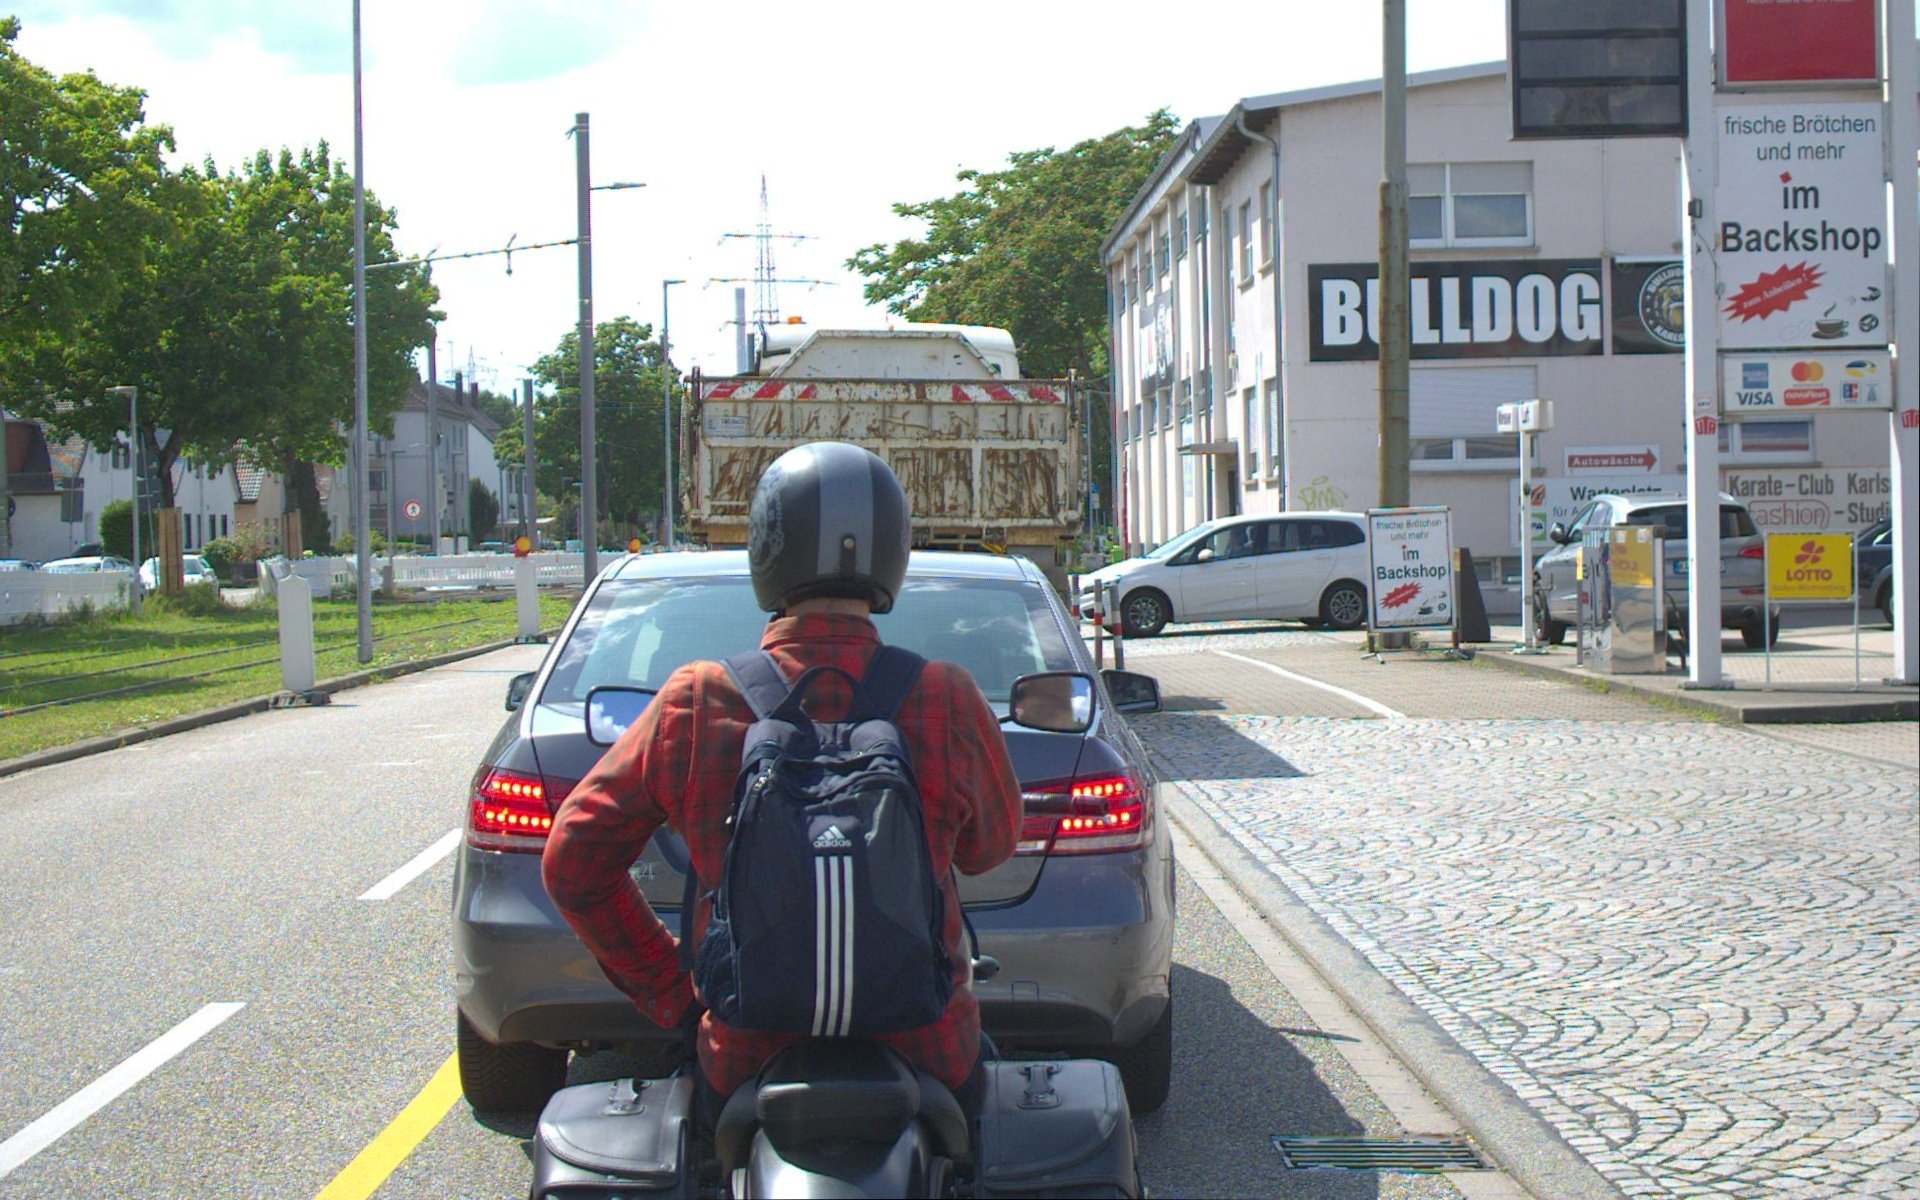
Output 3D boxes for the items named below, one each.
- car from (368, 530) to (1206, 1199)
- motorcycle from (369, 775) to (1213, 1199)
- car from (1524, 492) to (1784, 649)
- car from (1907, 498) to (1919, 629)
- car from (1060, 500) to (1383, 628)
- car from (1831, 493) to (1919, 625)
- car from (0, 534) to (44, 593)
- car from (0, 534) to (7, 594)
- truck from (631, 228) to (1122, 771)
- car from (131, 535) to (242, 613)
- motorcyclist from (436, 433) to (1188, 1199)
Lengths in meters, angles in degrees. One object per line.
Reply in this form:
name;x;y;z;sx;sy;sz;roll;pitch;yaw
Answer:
car;-0.440;0.568;9.672;1.832;1.474;4.010;-1;1;-2
motorcycle;-0.213;0.863;5.209;0.976;1.010;2.432;1;1;-1
car;7.325;-0.341;36.647;1.832;1.530;4.010;-1;1;-2
car;11.789;-0.401;37.246;1.832;1.474;4.010;-1;1;-2
car;3.550;-0.501;47.033;4.104;1.619;1.686;-1;1;-8
car;13.205;-0.562;43.240;4.106;1.619;1.685;-1;1;5
car;-29.269;-1.113;104.588;1.698;1.733;4.062;-1;1;0
car;-28.672;-0.996;98.324;1.698;1.733;4.062;-1;1;0
truck;-0.633;-0.716;25.470;2.970;3.293;8.408;-1;1;-2
car;-17.944;-0.624;79.875;1.698;1.733;3.860;-1;1;0
motorcyclist;-0.203;0.588;5.086;0.969;1.627;1.215;1;1;-1
